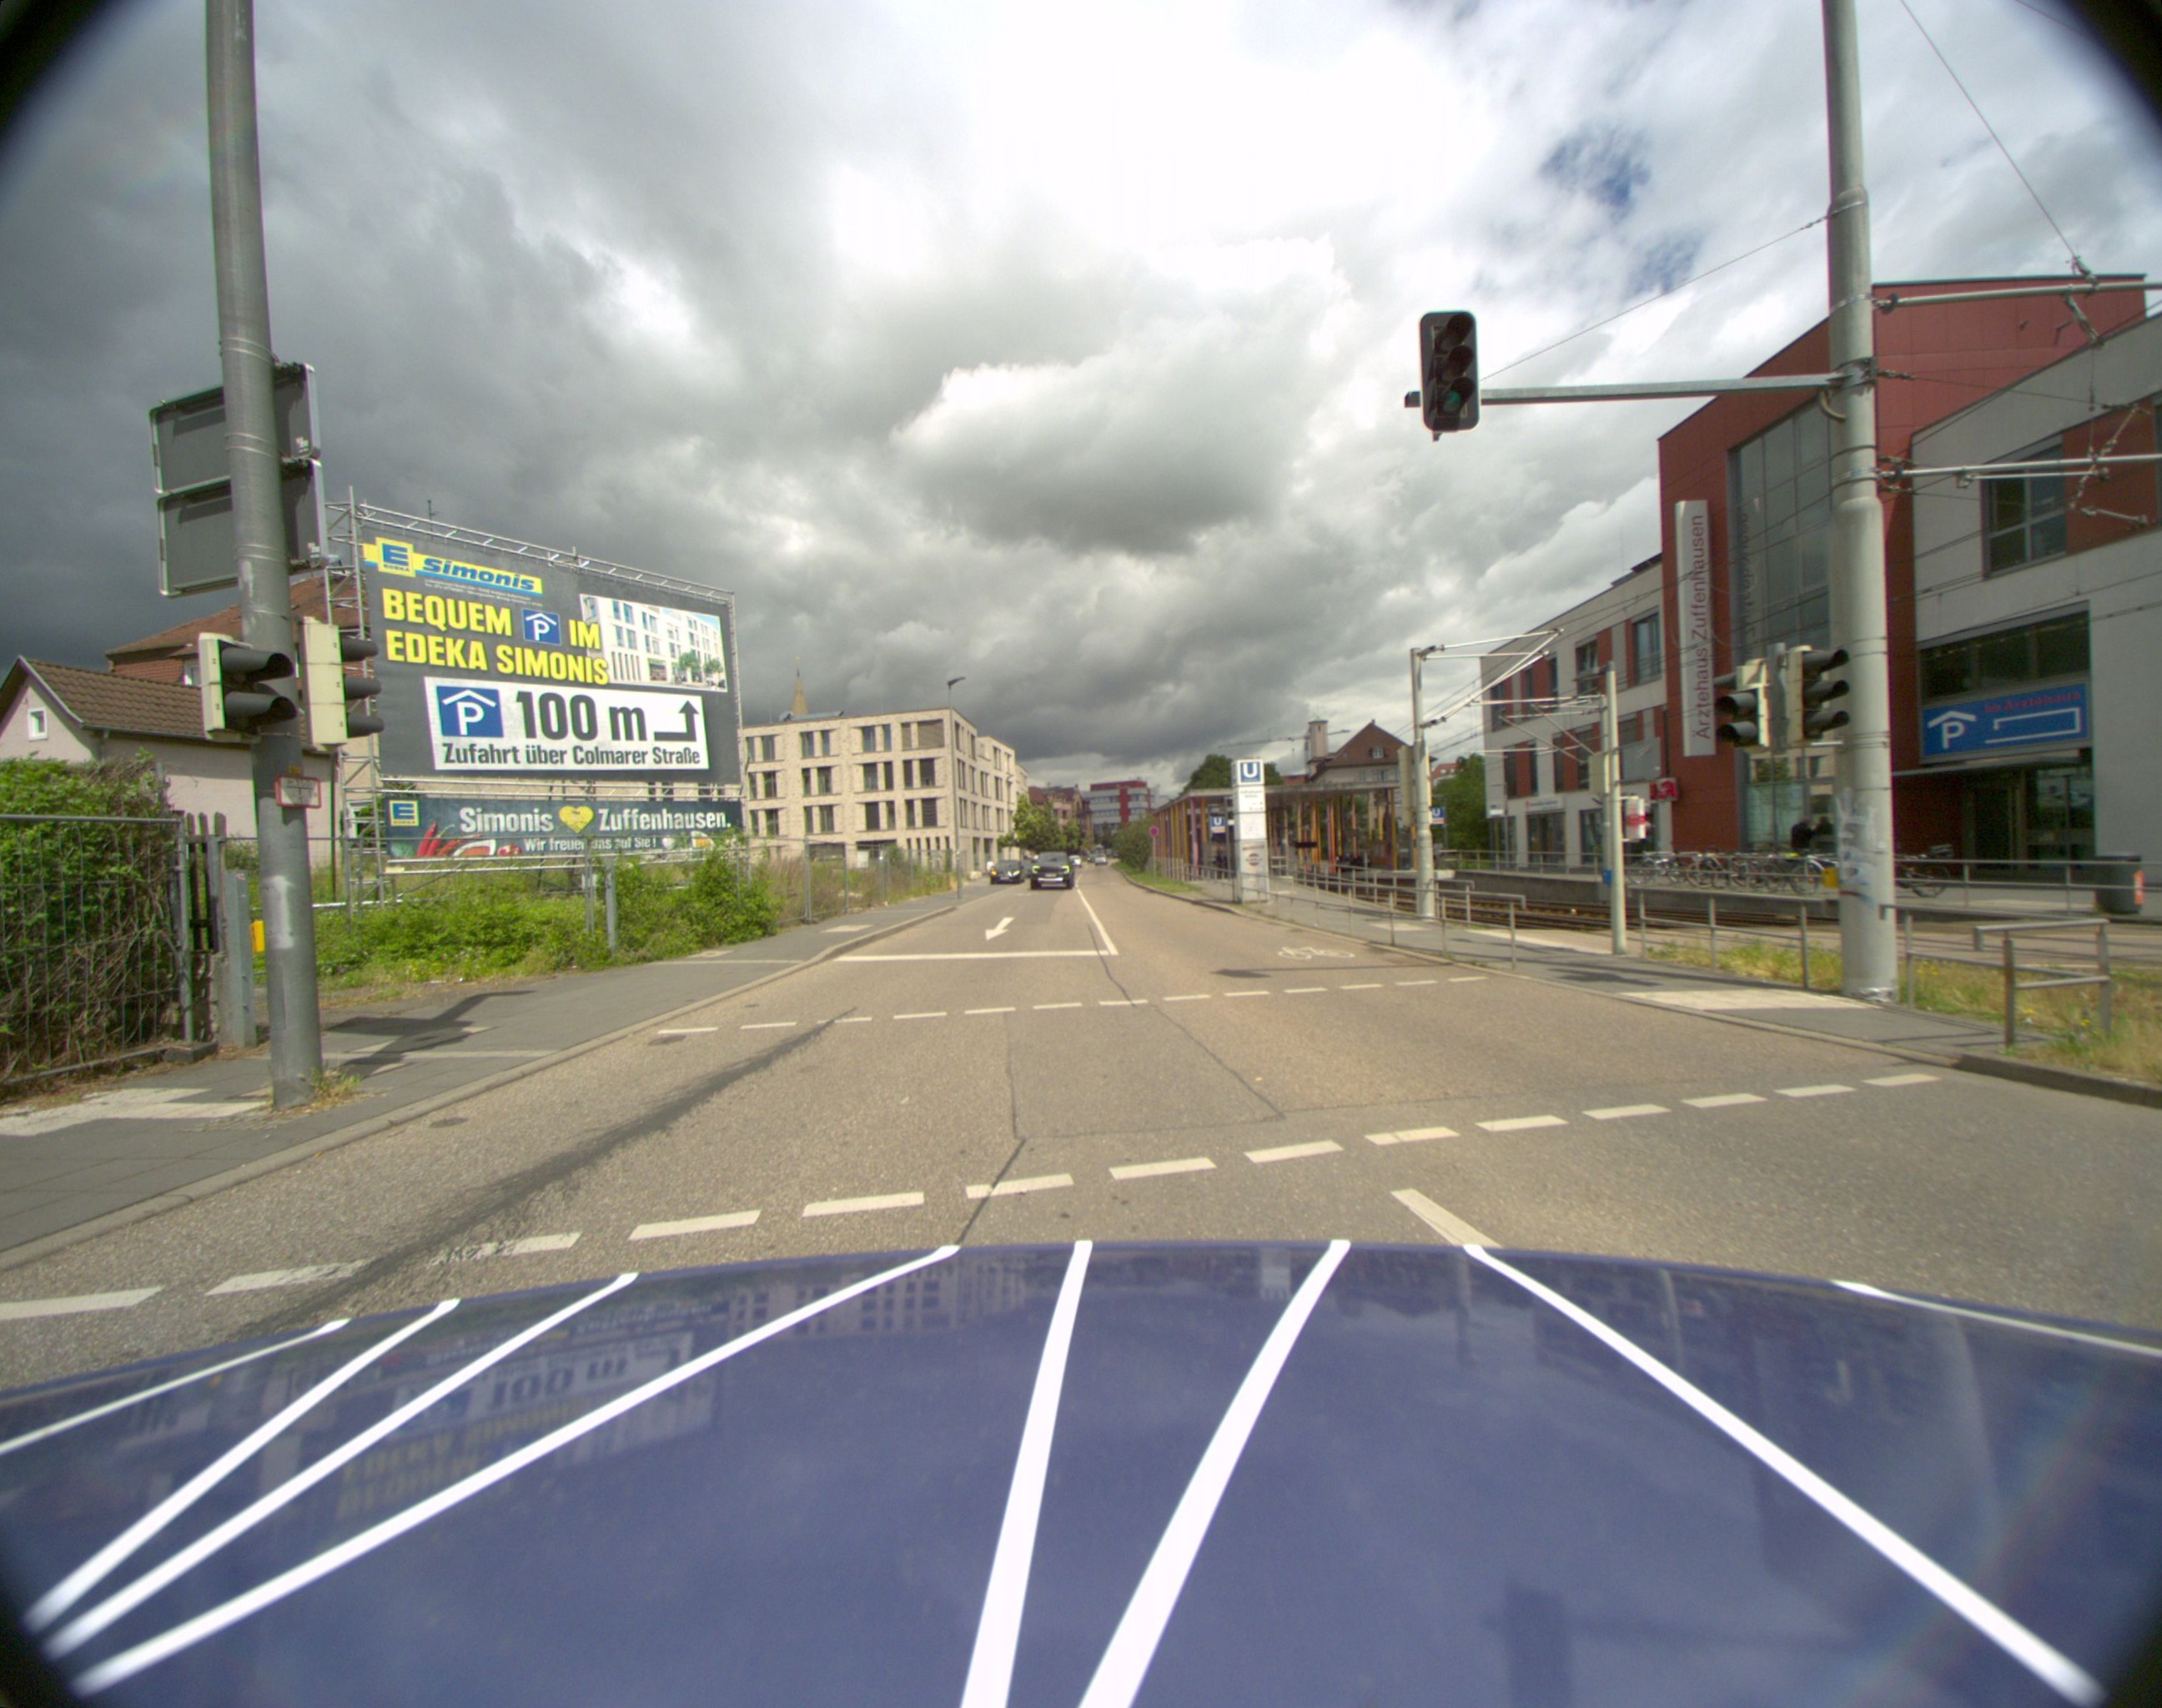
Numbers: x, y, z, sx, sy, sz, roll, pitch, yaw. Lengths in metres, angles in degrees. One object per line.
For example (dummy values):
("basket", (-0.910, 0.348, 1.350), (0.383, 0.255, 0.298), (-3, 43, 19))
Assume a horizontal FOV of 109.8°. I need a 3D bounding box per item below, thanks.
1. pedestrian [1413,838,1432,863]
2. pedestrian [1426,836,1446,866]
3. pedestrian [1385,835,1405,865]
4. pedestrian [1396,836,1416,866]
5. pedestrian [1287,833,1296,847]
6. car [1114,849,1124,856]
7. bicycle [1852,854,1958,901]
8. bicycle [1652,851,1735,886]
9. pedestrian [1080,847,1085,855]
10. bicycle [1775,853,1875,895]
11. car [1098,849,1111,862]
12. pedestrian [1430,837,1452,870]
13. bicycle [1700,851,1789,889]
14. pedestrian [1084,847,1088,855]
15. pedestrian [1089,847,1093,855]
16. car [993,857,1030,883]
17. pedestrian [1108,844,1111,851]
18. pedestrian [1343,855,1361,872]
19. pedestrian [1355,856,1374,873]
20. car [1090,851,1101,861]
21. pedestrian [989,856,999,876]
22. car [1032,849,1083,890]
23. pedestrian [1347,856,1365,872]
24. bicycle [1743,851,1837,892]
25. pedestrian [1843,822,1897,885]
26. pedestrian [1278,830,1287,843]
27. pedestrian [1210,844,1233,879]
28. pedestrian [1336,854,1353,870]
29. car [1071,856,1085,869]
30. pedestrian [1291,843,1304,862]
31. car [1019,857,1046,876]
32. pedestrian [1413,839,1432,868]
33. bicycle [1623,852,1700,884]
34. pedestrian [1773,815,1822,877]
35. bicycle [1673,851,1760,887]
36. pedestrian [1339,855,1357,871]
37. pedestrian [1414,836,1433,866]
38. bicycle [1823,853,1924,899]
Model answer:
("pedestrian", (26.704, -0.270, 59.404), (0.866, 1.957, 1.103), (-2, 2, -37))
("pedestrian", (23.557, -0.203, 50.416), (0.863, 1.957, 1.106), (-1, 2, 6))
("pedestrian", (20.849, -0.268, 50.516), (0.864, 1.957, 1.105), (-1, 2, -1))
("pedestrian", (21.592, -0.209, 50.488), (0.864, 1.957, 1.105), (-1, 2, -1))
("pedestrian", (30.686, -2.001, 110.774), (1.125, 2.002, 1.661), (-1, 0, 14))
("car", (7.031, -0.299, 140.097), (1.677, 1.299, 3.794), (-1, 1, 3))
("bicycle", (17.724, 0.503, 16.365), (1.739, 0.947, 0.428), (-2, 1, 3))
("bicycle", (17.591, 0.408, 21.851), (1.861, 0.927, 0.455), (-2, 1, 9))
("pedestrian", (0.276, -0.555, 135.341), (0.673, 1.503, 0.783), (-1, 0, 16))
("bicycle", (17.645, 0.470, 18.038), (1.862, 0.930, 0.454), (-2, 1, 3))
("car", (3.175, 0.169, 103.864), (1.588, 1.528, 3.946), (-5, 1, 1))
("pedestrian", (22.077, -0.049, 46.612), (0.864, 1.957, 1.106), (-1, 2, 3))
("bicycle", (17.548, 0.429, 20.121), (1.861, 0.934, 0.454), (-2, 1, 5))
("pedestrian", (1.007, -0.606, 146.253), (0.673, 1.503, 0.783), (-2, 0, 3))
("pedestrian", (1.907, -0.601, 146.115), (0.673, 1.503, 0.783), (-2, 0, 3))
("car", (-4.159, 0.958, 46.111), (1.677, 1.415, 3.794), (-1, 1, 3))
("pedestrian", (6.128, -1.367, 163.788), (0.673, 1.503, 0.783), (-1, 0, 11))
("pedestrian", (19.083, 0.666, 53.596), (0.943, 1.128, 0.886), (-2, 0, 2))
("pedestrian", (19.263, 0.698, 51.683), (0.943, 1.128, 0.886), (-2, 0, 2))
("car", (2.320, 0.243, 119.930), (1.678, 1.425, 3.794), (-2, 1, 0))
("pedestrian", (-6.640, 0.939, 58.060), (0.673, 1.503, 0.782), (-2, 0, 1))
("car", (-1.114, 0.710, 38.537), (2.003, 1.876, 5.151), (-1, 1, 4))
("pedestrian", (19.068, 0.684, 52.638), (0.943, 1.128, 0.886), (-2, 0, 2))
("bicycle", (17.682, 0.438, 18.969), (1.862, 0.957, 0.454), (-2, 1, 3))
("pedestrian", (21.528, -0.025, 20.750), (0.933, 1.688, 0.790), (0, 2, 41))
("pedestrian", (32.692, -2.868, 123.253), (1.127, 2.002, 0.815), (-1, 0, 6))
("pedestrian", (7.701, 0.395, 41.642), (1.105, 1.903, 0.864), (-1, 2, 2))
("pedestrian", (19.301, 0.591, 55.677), (0.943, 1.128, 0.886), (-2, 0, 2))
("car", (-0.356, 1.088, 98.480), (1.719, 1.541, 3.793), (-1, 0, 1))
("pedestrian", (23.638, -0.170, 83.101), (1.127, 2.002, 1.179), (-1, 0, 6))
("car", (-3.805, 0.983, 59.955), (1.677, 1.367, 3.795), (-2, 0, 3))
("pedestrian", (23.554, -0.017, 52.422), (0.863, 1.957, 1.106), (-1, 2, 6))
("bicycle", (17.532, 0.422, 22.978), (1.861, 0.876, 0.455), (-2, 1, 9))
("pedestrian", (22.010, -0.240, 23.339), (0.881, 1.835, 0.862), (-4, 3, -27))
("bicycle", (17.566, 0.423, 21.022), (1.861, 0.917, 0.455), (-2, 1, 8))
("pedestrian", (19.180, 0.646, 54.587), (0.943, 1.128, 0.886), (-2, 0, 2))
("pedestrian", (22.766, -0.186, 50.489), (0.863, 1.957, 1.106), (-1, 2, 6))
("bicycle", (17.712, 0.489, 16.998), (1.739, 0.952, 0.428), (-2, 1, 3))
